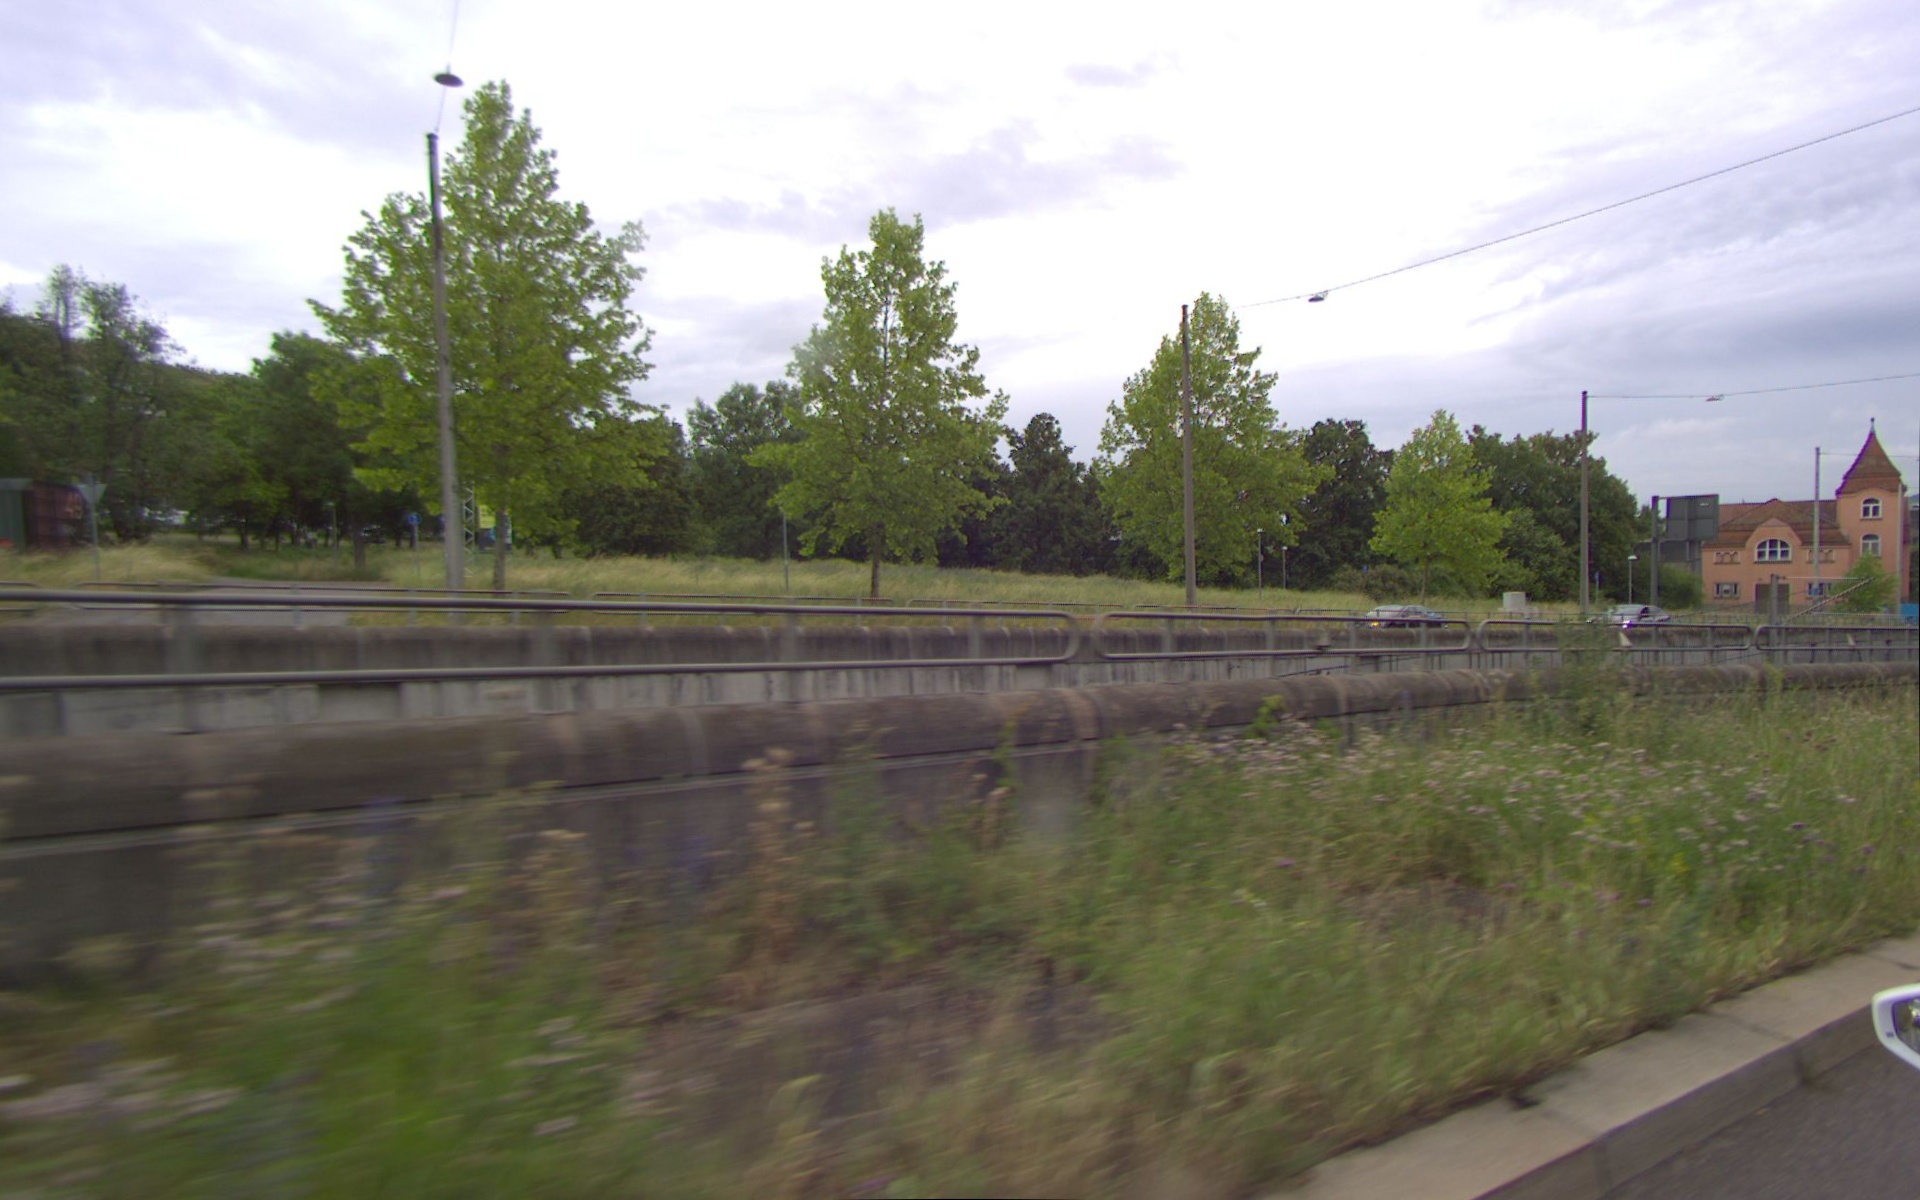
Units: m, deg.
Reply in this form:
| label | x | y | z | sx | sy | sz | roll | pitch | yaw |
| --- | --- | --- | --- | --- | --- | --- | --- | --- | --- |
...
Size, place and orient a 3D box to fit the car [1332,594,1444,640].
| label | x | y | z | sx | sy | sz | roll | pitch | yaw |
| --- | --- | --- | --- | --- | --- | --- | --- | --- | --- |
| car | 16.227 | 0.613 | 38.070 | 3.924 | 1.663 | 1.882 | 0 | 1 | -29 |

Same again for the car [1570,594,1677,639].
| label | x | y | z | sx | sy | sz | roll | pitch | yaw |
| --- | --- | --- | --- | --- | --- | --- | --- | --- | --- |
| car | 27.486 | 0.675 | 41.592 | 4.305 | 1.666 | 1.882 | 0 | 4 | -30 |
